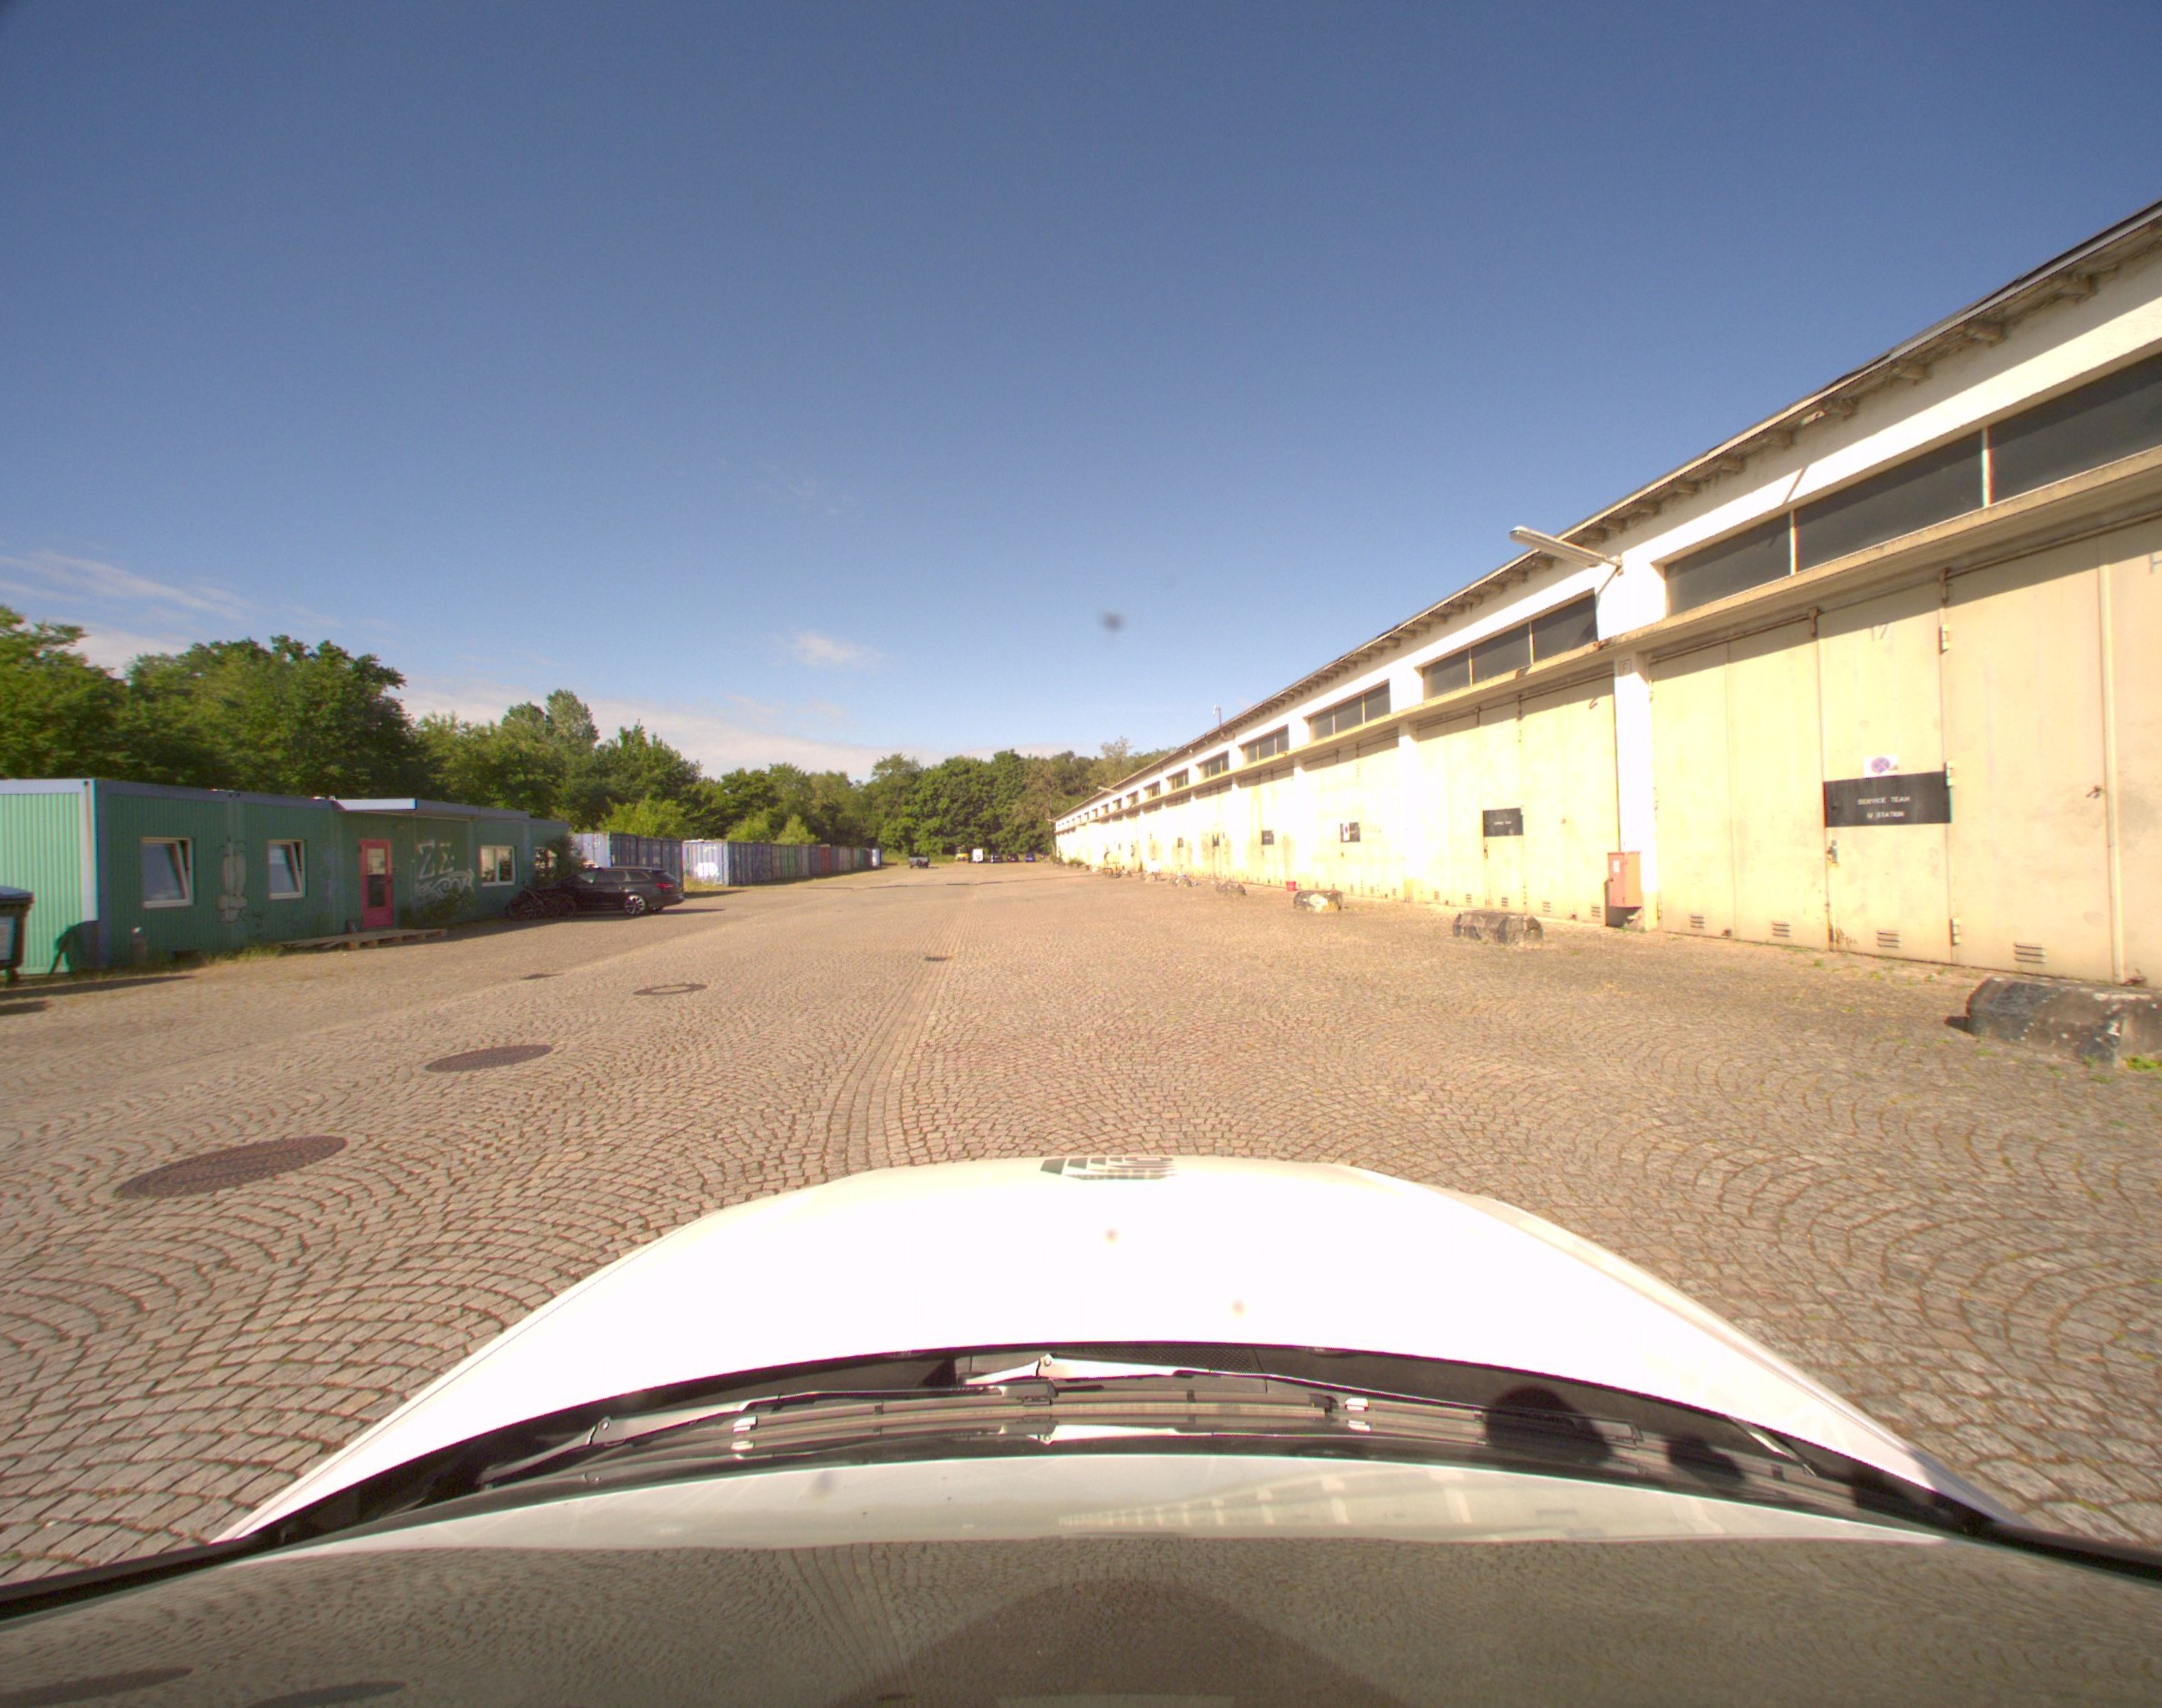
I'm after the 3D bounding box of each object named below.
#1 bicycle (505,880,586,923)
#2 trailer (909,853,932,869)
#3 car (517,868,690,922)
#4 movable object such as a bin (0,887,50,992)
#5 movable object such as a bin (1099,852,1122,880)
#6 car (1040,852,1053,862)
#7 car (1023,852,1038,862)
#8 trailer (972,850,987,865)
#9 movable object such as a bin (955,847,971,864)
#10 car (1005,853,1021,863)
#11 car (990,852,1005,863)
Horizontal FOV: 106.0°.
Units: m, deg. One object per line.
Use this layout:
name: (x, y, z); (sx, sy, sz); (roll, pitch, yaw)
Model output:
bicycle: (-14.622, 1.291, 22.270); (1.706, 1.101, 0.672); (0, 0, -7)
trailer: (-20.439, 0.869, 104.080); (2.403, 2.013, 4.167); (0, 0, -4)
car: (-13.954, 1.162, 24.035); (4.053, 1.413, 1.724); (-1, 0, -13)
movable object such as a bin: (-15.574, 1.212, 11.205); (1.088, 1.436, 1.400); (-2, 0, -19)
movable object such as a bin: (1.474, 0.572, 40.487); (0.824, 1.331, 1.275); (-2, 0, -11)
car: (-5.295, 0.441, 125.061); (1.679, 1.563, 4.000); (-2, 0, 1)
car: (-7.592, 0.511, 123.412); (1.987, 1.420, 4.000); (-2, 0, 0)
trailer: (-15.459, 0.543, 123.942); (1.789, 2.090, 3.968); (-2, 0, -2)
movable object such as a bin: (-17.878, 0.225, 123.920); (1.989, 2.618, 3.996); (0, 0, -2)
car: (-10.202, 0.547, 123.086); (1.987, 1.462, 4.000); (-2, 0, 0)
car: (-12.570, 0.558, 122.596); (1.855, 1.585, 4.000); (-2, 0, 0)
